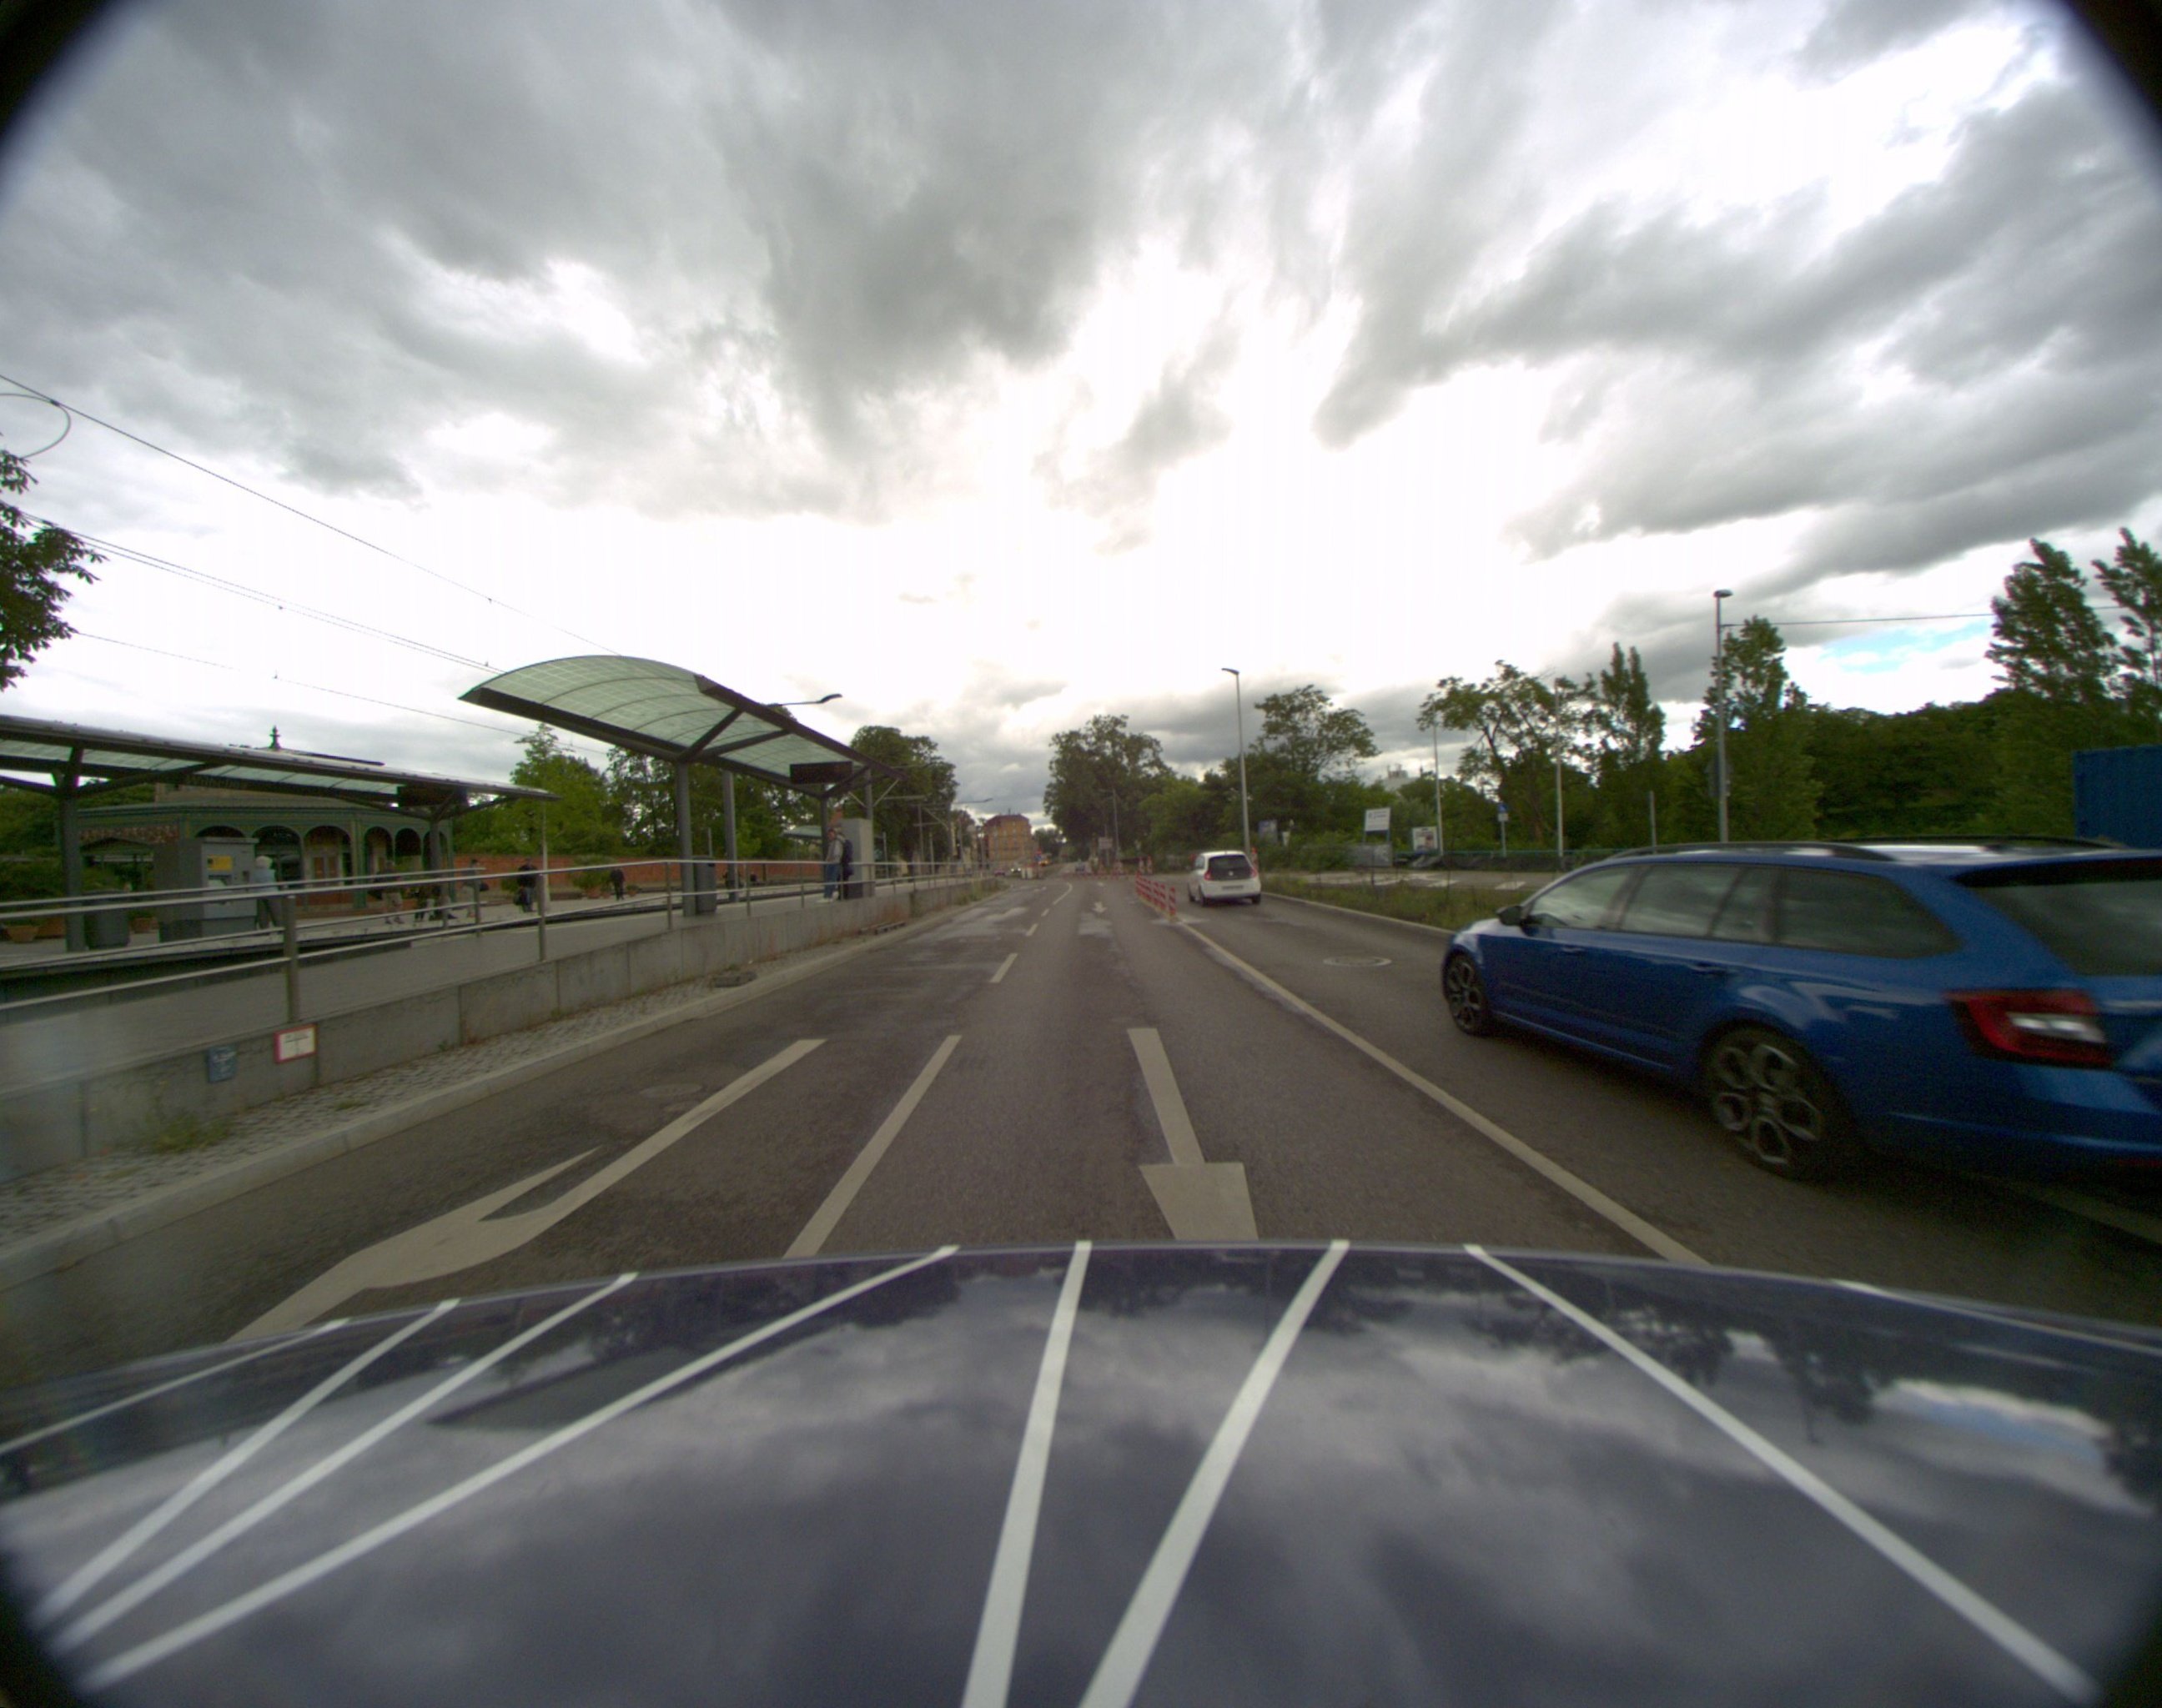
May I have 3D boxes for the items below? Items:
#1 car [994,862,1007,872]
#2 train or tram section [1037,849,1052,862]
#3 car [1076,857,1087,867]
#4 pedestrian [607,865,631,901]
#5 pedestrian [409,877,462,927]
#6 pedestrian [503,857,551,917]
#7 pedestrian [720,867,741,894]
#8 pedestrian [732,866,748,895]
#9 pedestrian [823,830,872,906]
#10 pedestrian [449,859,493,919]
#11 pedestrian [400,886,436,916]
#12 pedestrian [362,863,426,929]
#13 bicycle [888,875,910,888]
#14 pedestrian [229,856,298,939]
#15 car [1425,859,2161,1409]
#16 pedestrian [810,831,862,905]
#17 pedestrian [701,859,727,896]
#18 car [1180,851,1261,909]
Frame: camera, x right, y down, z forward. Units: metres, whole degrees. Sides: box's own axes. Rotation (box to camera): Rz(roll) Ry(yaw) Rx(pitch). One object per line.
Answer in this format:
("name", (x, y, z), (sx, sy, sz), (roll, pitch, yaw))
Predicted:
("car", (-13.336, 2.132, 126.011), (1.681, 1.433, 4.119), (-6, 0, -1))
("train or tram section", (-10.500, 0.327, 222.270), (3.739, 3.346, 17.553), (-2, 1, -1))
("car", (0.061, 1.495, 149.022), (1.869, 1.772, 4.747), (-4, 0, -4))
("pedestrian", (-24.214, 1.525, 39.857), (0.549, 1.827, 0.952), (-6, 1, -6))
("pedestrian", (-16.614, 1.221, 19.580), (0.659, 1.184, 0.676), (-5, 0, 2))
("pedestrian", (-17.638, 1.038, 24.229), (0.634, 1.827, 0.950), (-5, 1, 2))
("pedestrian", (-21.296, 1.605, 46.147), (0.741, 1.591, 0.772), (-5, 1, 9))
("pedestrian", (-20.476, 1.572, 45.642), (0.487, 1.650, 0.628), (-5, 1, 9))
("pedestrian", (-5.470, 0.341, 17.835), (0.772, 1.689, 0.732), (-5, -2, 2))
("pedestrian", (-17.156, 0.969, 21.383), (0.525, 1.610, 0.676), (-5, 1, 2))
("pedestrian", (-17.749, 1.254, 20.345), (0.562, 0.736, 0.424), (-5, 0, 10))
("pedestrian", (-18.326, 1.101, 20.281), (0.863, 1.667, 0.761), (-6, 1, -10))
("bicycle", (-18.973, 2.853, 79.155), (1.995, 1.151, 0.741), (-3, 0, 5))
("pedestrian", (-17.169, 0.893, 15.971), (0.545, 1.667, 0.675), (-5, 1, -3))
("car", (3.817, 0.787, 4.248), (1.734, 1.413, 4.444), (-2, 0, 0))
("pedestrian", (-5.471, 0.322, 16.999), (0.752, 1.544, 0.775), (-5, -2, 2))
("pedestrian", (-17.405, 1.090, 36.026), (0.634, 1.677, 0.866), (-5, 1, 0))
("car", (4.080, 0.701, 22.812), (1.595, 1.508, 4.084), (-3, 0, 0))
